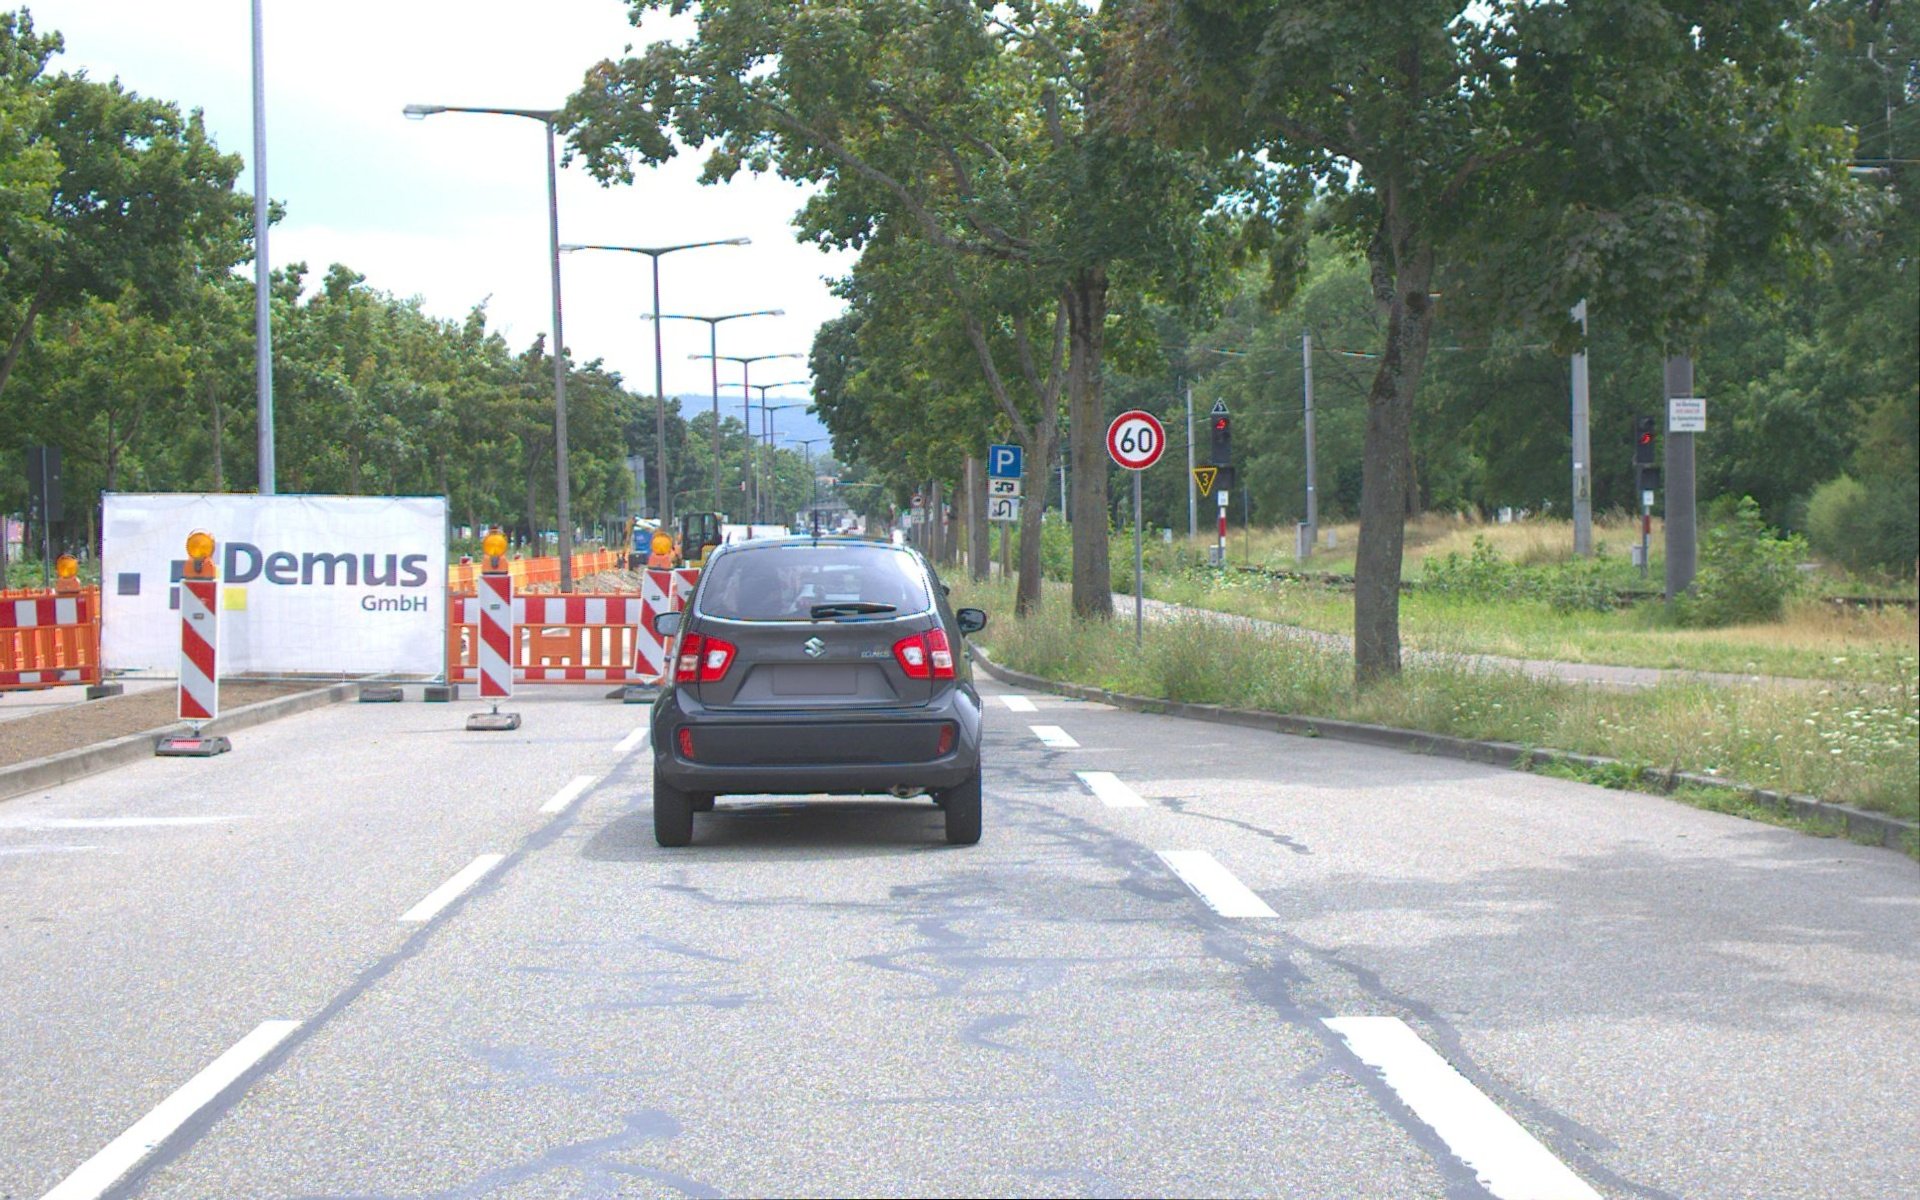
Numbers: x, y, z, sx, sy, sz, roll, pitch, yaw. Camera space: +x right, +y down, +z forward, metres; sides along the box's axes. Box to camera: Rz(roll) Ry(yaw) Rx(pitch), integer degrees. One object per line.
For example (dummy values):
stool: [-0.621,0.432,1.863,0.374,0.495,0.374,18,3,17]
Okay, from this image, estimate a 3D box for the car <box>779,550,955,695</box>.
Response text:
car: [-1.080,0.206,38.284,1.766,1.459,4.001,-1,2,-4]

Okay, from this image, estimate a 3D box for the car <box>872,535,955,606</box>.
car: [-1.054,-0.710,79.636,1.793,1.556,4.000,-1,2,1]

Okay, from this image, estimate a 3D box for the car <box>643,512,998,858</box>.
car: [-0.750,0.366,18.685,1.703,1.663,4.001,-1,1,-2]
